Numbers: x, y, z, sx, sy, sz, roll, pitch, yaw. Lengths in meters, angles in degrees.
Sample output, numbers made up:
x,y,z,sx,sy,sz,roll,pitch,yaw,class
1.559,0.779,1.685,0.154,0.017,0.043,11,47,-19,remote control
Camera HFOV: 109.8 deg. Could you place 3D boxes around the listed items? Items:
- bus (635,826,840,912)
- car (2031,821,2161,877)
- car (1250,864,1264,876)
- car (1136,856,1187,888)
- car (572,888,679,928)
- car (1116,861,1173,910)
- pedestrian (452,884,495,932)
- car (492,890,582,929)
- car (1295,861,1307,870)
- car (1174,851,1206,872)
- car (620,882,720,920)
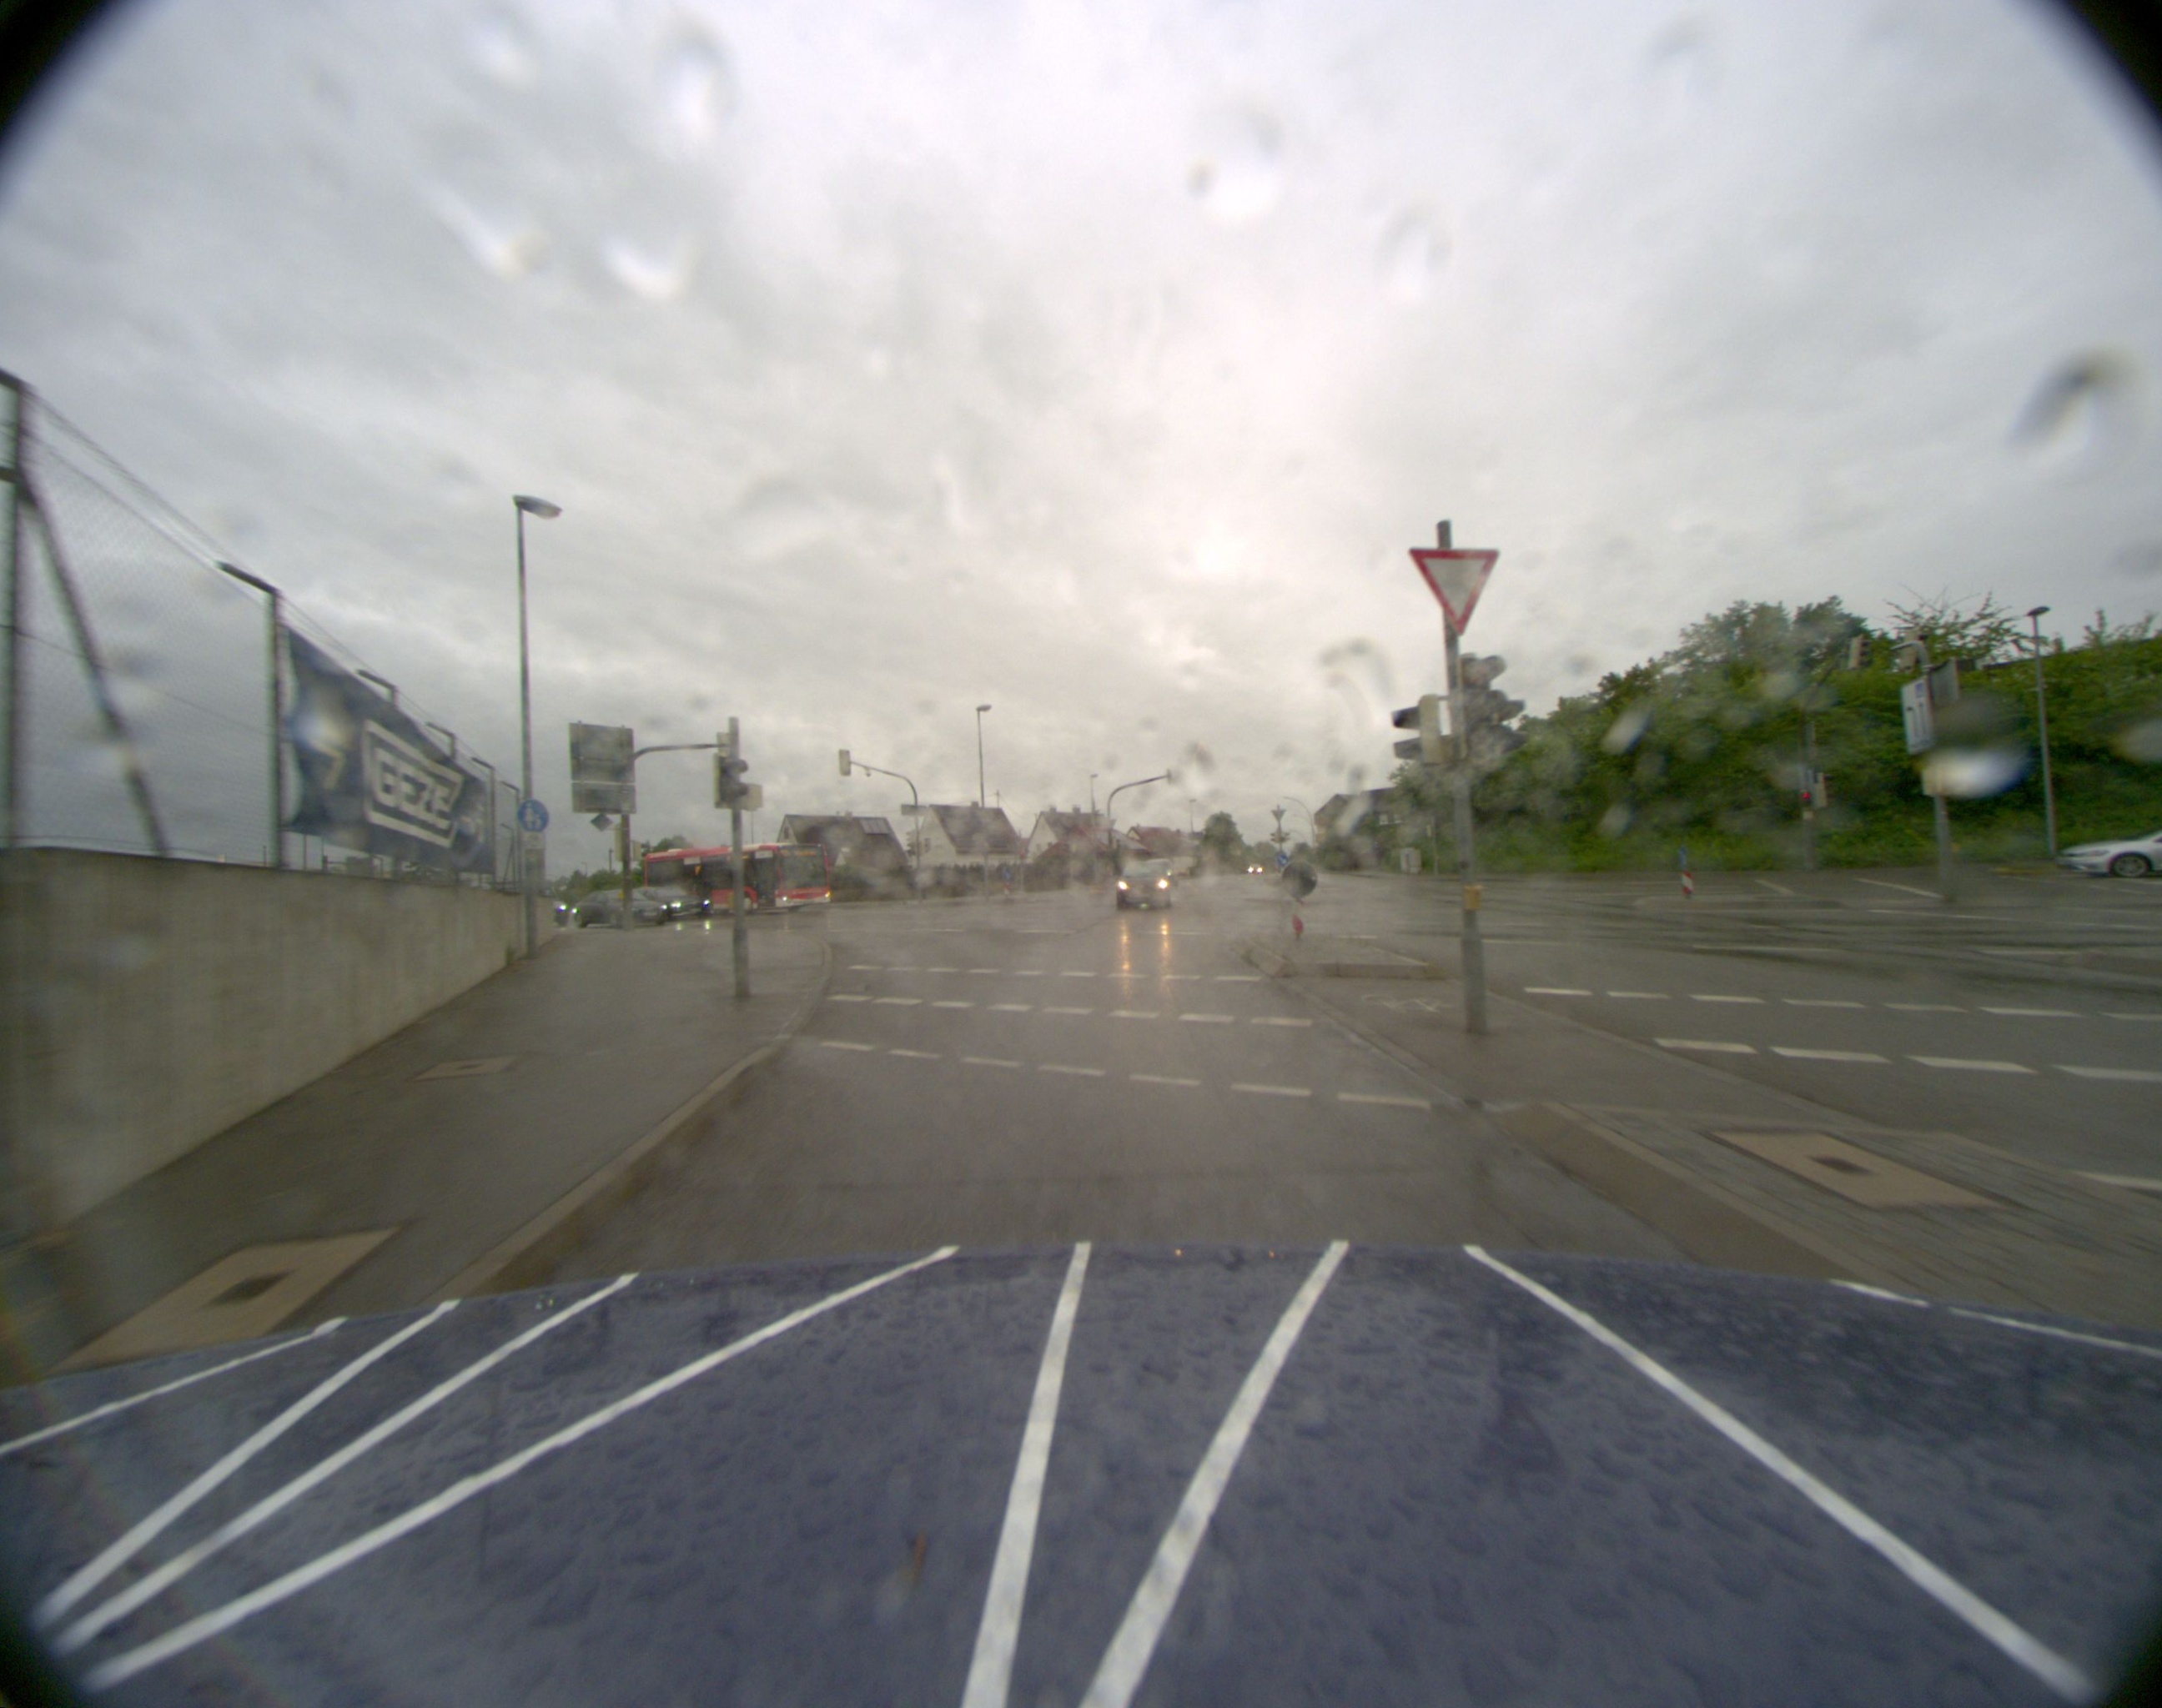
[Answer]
x,y,z,sx,sy,sz,roll,pitch,yaw,class
-16.592,0.794,35.996,12.258,3.555,2.992,-2,0,36,bus
28.144,-0.184,19.392,4.520,1.355,1.766,-3,0,36,car
24.865,2.211,107.315,1.756,1.547,3.923,-3,-1,12,car
4.138,0.888,38.544,1.896,1.473,4.005,-2,-1,15,car
-17.442,2.069,29.015,4.382,1.346,1.830,-3,-1,35,car
2.076,0.978,24.887,1.665,1.409,3.935,-3,-1,5,car
-20.921,1.850,26.189,0.871,1.600,0.872,-2,-4,32,pedestrian
-23.942,2.445,33.401,4.382,1.529,1.830,-3,-1,35,car
37.929,2.028,130.952,1.623,1.496,3.826,-1,-1,12,car
12.833,0.908,89.477,1.650,2.336,4.008,-3,-1,44,car
-17.903,2.059,33.050,4.580,1.459,1.906,-3,-1,35,car
